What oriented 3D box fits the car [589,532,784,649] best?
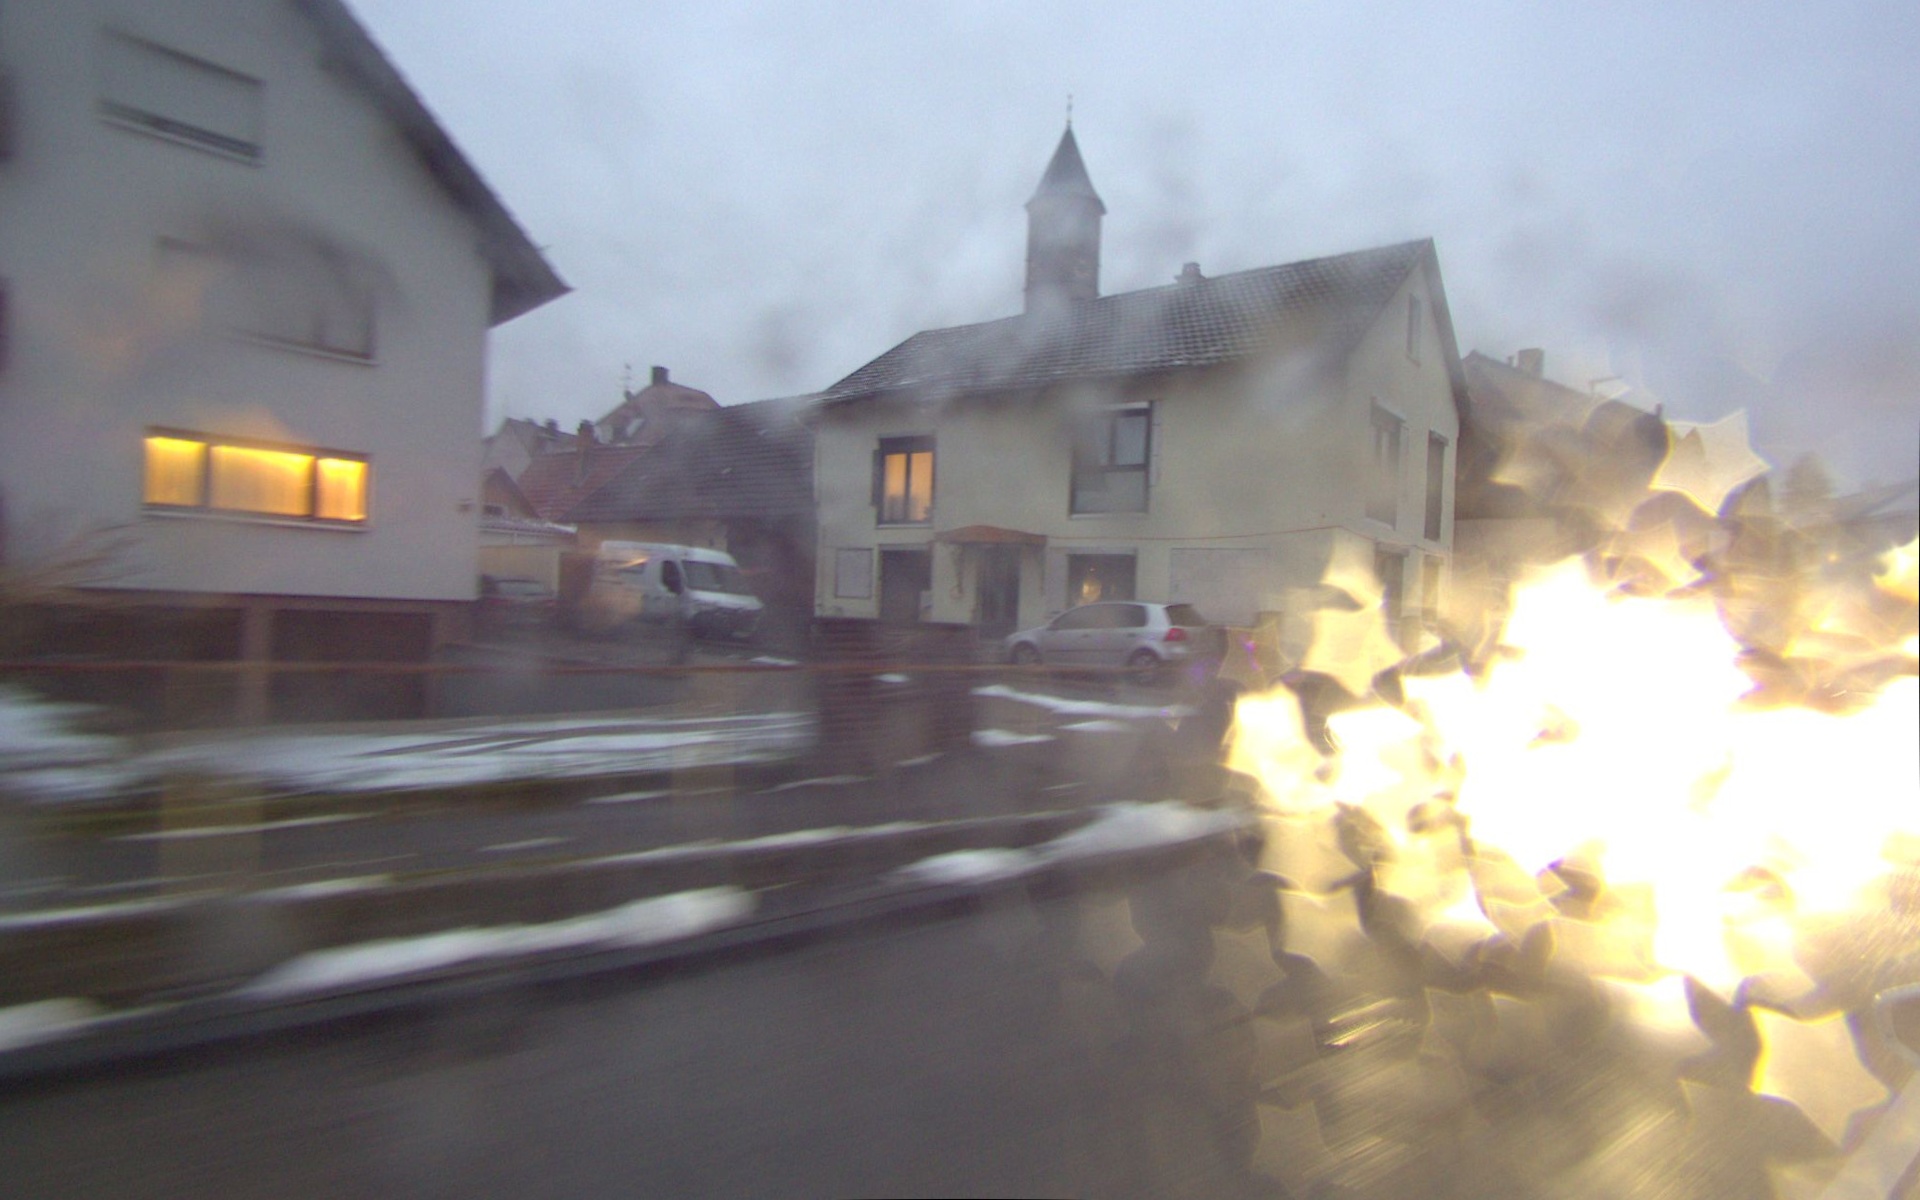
[{"bbox_3d":[-6.836,-0.253,24.739,5.279,2.574,2.200,2,1,44],"label":"car"}]

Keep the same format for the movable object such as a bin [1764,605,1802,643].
[{"bbox_3d":[34.788,1.002,42.461,1.280,1.564,1.085,1,1,-43],"label":"movable object such as a bin"}]

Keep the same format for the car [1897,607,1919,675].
[{"bbox_3d":[25.933,1.058,26.230,3.972,1.675,1.894,0,2,-44],"label":"car"}]

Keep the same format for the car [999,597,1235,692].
[{"bbox_3d":[2.847,0.753,18.647,3.939,1.482,1.812,2,1,40],"label":"car"}]

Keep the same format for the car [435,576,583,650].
[{"bbox_3d":[-10.362,0.260,22.942,1.809,1.506,3.946,1,1,-45],"label":"car"}]

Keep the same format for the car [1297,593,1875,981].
[{"bbox_3d":[4.233,0.800,6.436,4.565,1.634,1.861,0,0,-40],"label":"car"}]
